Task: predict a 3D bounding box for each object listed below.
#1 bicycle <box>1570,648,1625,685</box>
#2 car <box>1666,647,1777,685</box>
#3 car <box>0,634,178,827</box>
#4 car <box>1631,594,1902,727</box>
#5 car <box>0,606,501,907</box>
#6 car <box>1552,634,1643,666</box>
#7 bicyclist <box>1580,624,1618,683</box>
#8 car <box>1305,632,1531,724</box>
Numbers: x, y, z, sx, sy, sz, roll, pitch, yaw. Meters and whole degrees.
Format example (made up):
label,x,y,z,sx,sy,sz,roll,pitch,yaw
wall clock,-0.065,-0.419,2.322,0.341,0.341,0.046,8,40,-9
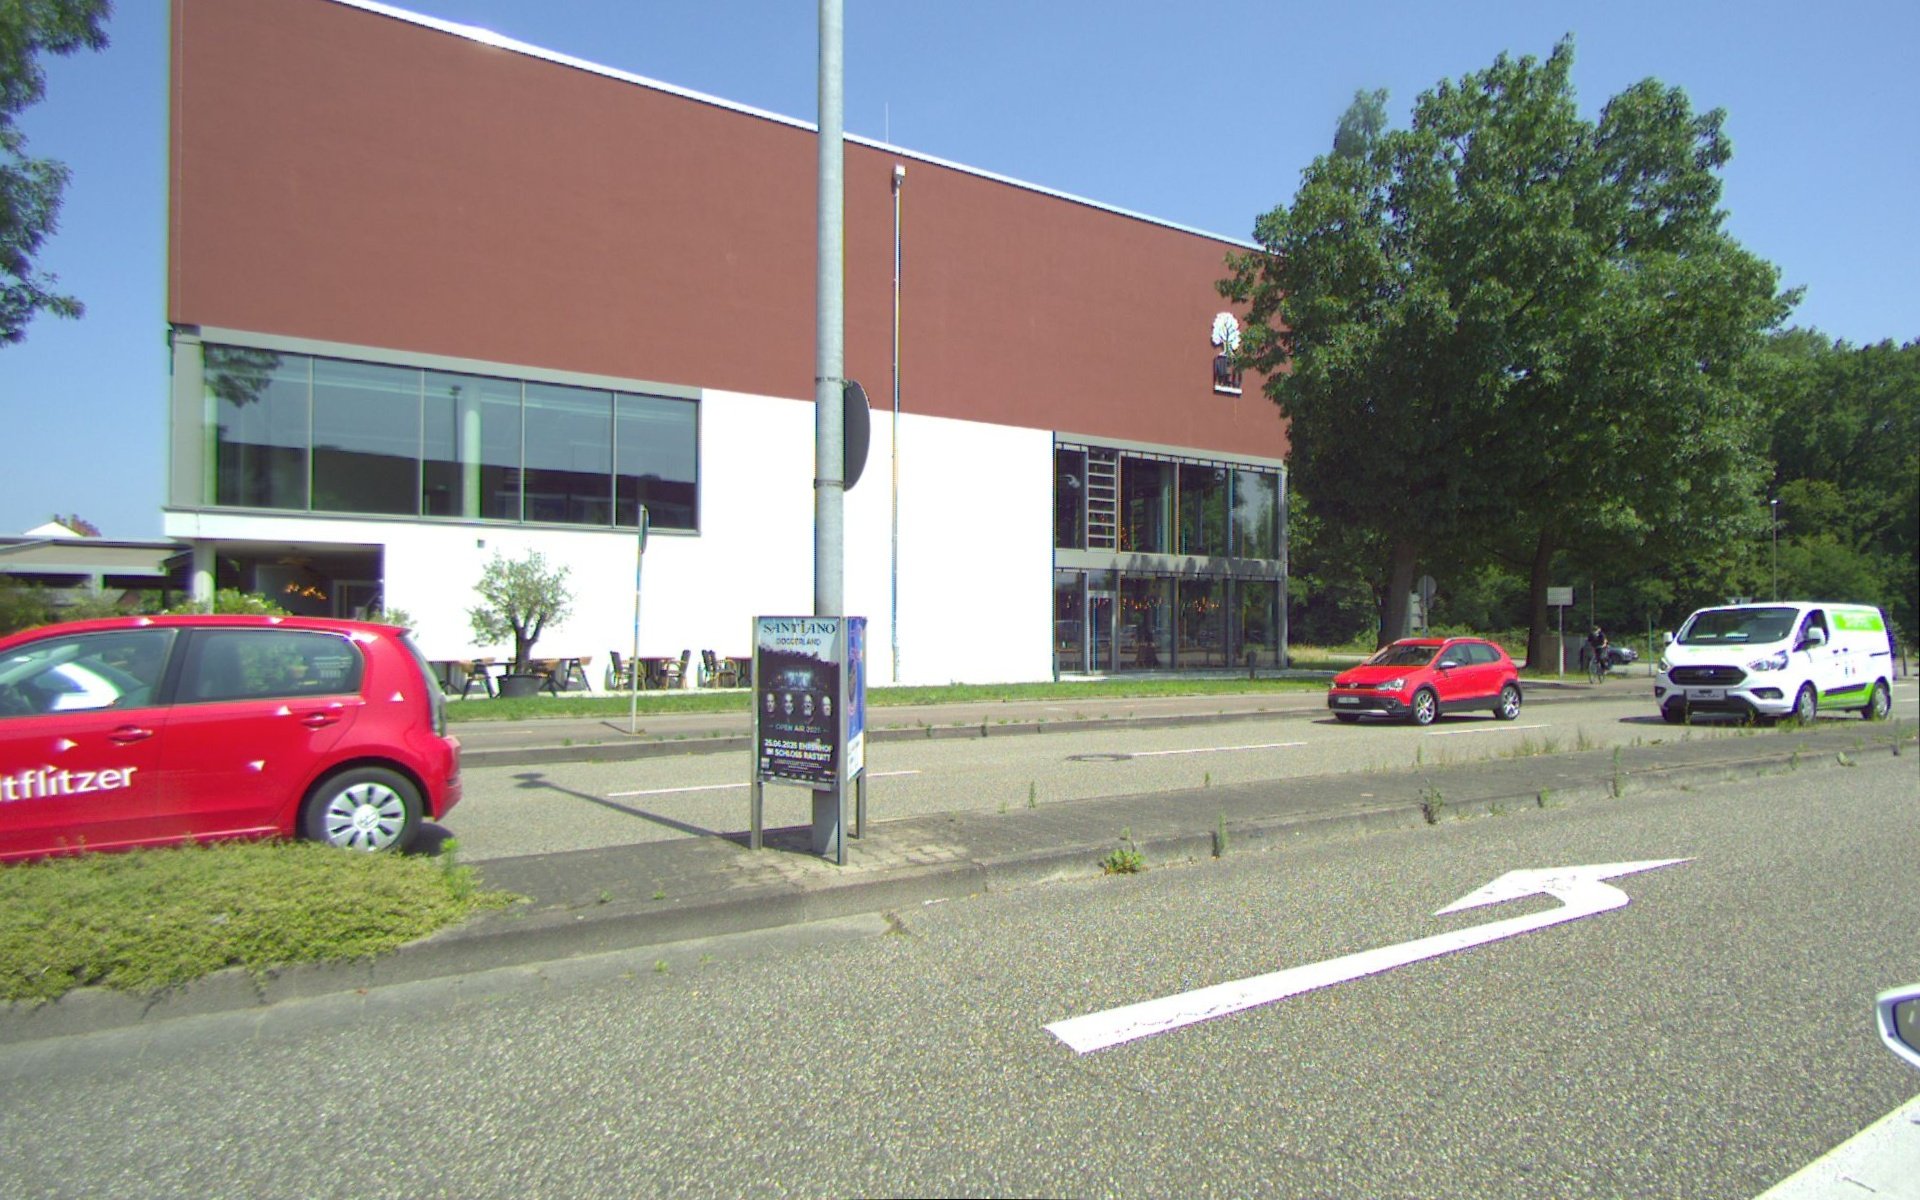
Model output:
label,x,y,z,sx,sy,sz,roll,pitch,yaw
bicycle,19.834,2.054,31.244,1.862,1.065,0.652,1,-1,-30
car,40.095,3.421,52.965,1.794,1.704,4.339,2,0,-36
car,-8.725,1.001,7.503,4.310,1.422,1.769,1,-4,-31
car,13.753,0.996,17.069,4.852,1.971,1.984,1,-3,-31
car,-4.700,0.811,5.817,3.568,1.460,1.572,1,-4,-32
car,38.905,3.022,61.353,1.796,1.704,4.334,2,0,-40
bicyclist,19.887,1.646,31.262,0.916,1.793,0.646,1,-1,-30
car,8.143,1.341,17.804,3.845,1.471,1.698,1,-4,-30
